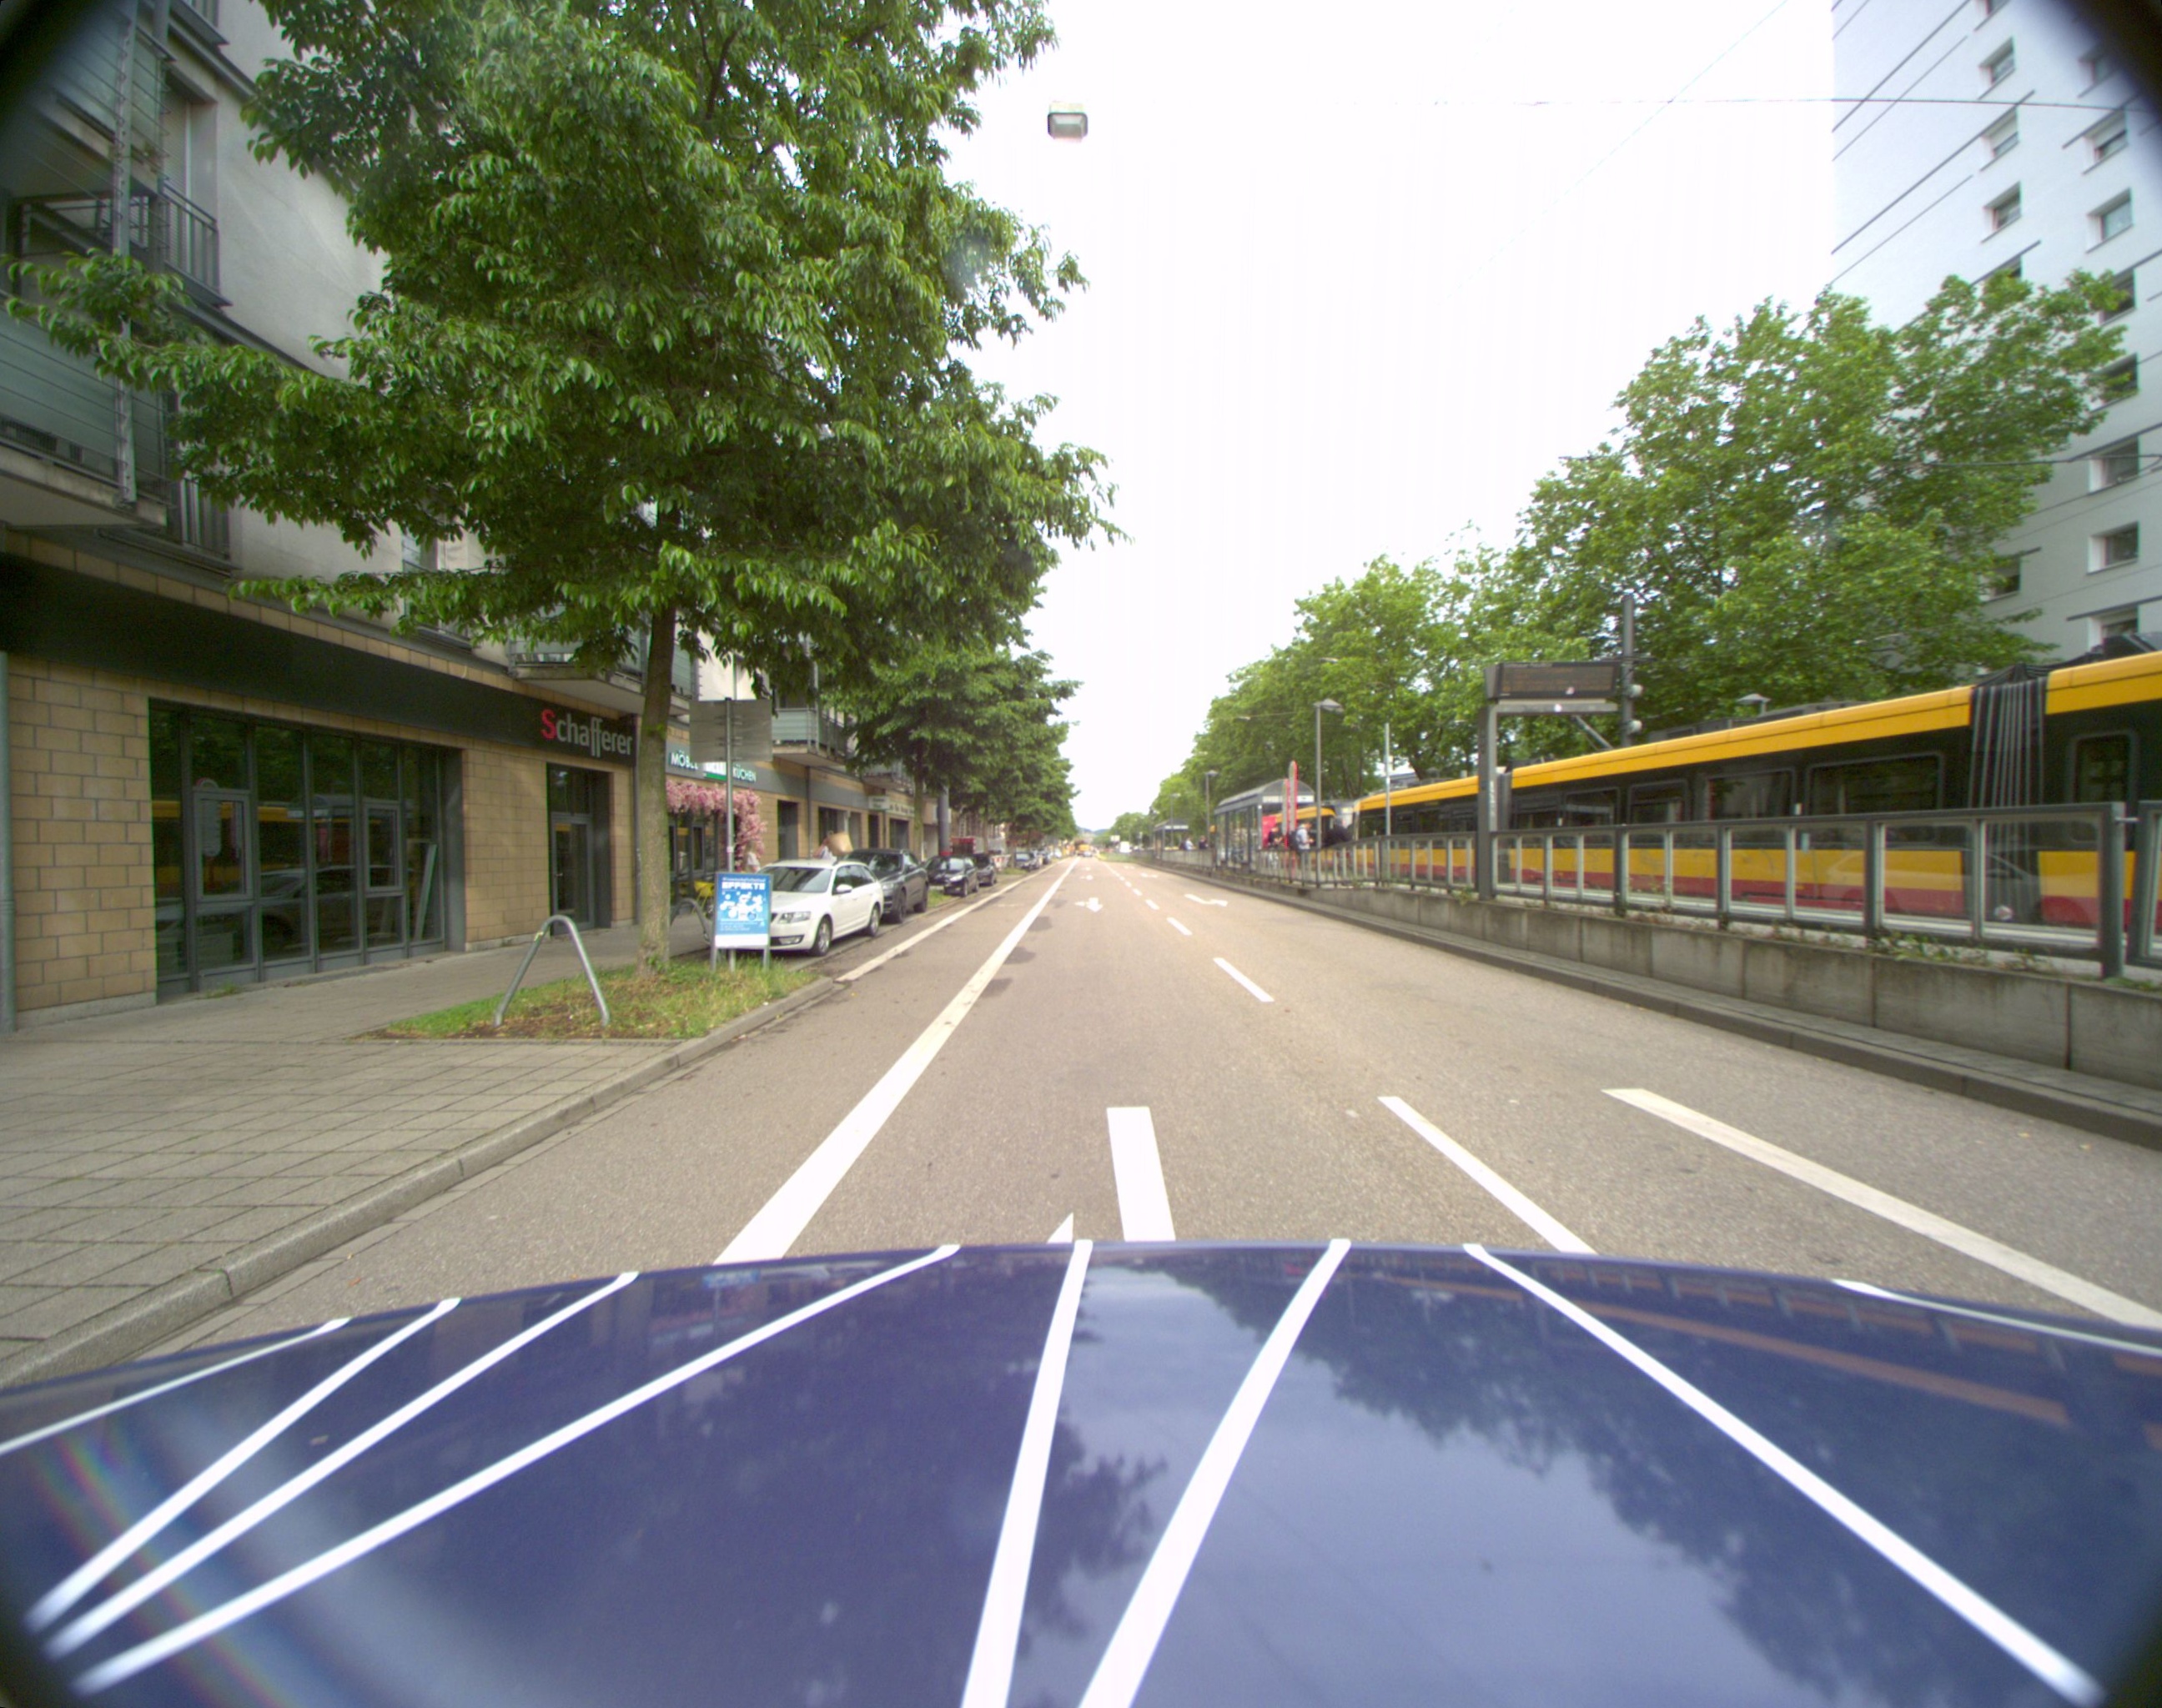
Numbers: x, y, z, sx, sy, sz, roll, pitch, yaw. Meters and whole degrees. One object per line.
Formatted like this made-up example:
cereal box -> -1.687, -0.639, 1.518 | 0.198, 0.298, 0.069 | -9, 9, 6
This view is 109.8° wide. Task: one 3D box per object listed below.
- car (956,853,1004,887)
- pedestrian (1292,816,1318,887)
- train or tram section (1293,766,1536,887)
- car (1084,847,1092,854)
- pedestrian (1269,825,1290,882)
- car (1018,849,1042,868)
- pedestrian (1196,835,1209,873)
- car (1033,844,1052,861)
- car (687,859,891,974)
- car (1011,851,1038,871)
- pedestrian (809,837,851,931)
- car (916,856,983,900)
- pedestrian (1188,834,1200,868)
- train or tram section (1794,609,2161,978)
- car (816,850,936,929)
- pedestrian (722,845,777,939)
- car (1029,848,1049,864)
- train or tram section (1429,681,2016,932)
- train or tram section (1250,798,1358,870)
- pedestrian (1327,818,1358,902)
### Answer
car -> -4.553, 0.686, 34.746 | 1.612, 1.393, 3.667 | 2, 1, 1
pedestrian -> 5.757, -0.060, 19.557 | 0.475, 1.794, 0.605 | -2, 1, 5
train or tram section -> 12.923, -0.958, 32.393 | 3.338, 3.731, 16.247 | -2, 1, 1
car -> 1.429, -0.773, 153.912 | 1.716, 1.379, 4.099 | -2, 1, 1
pedestrian -> 6.316, -0.024, 24.209 | 0.474, 1.794, 0.606 | -2, 1, 26
car -> -4.121, 0.363, 62.174 | 1.612, 1.393, 3.667 | 2, 1, 1
pedestrian -> 5.851, 0.002, 36.533 | 0.530, 1.794, 0.606 | -2, 1, 14
car -> -3.960, -0.143, 78.230 | 1.612, 1.674, 3.806 | 2, 1, 1
car -> -4.716, 0.904, 13.010 | 1.738, 1.512, 4.308 | 2, 1, 1
car -> -4.161, 0.479, 56.261 | 1.612, 1.393, 3.667 | 2, 1, 1
pedestrian -> -5.179, 0.604, 15.664 | 0.657, 1.873, 0.597 | -2, 1, -31
car -> -4.634, 0.796, 27.285 | 1.612, 1.370, 4.167 | 2, 1, 1
pedestrian -> 6.144, -0.176, 41.349 | 0.530, 1.794, 0.606 | -2, 1, 14
train or tram section -> 12.551, -0.623, 4.047 | 3.338, 3.731, 15.201 | -2, 1, 1
car -> -4.712, 0.744, 18.013 | 1.738, 1.601, 3.798 | 2, 1, 1
pedestrian -> -6.195, 0.683, 14.215 | 0.616, 1.707, 0.740 | 1, 2, 41
car -> -3.966, 0.207, 72.460 | 1.612, 1.393, 3.667 | 2, 1, 1
train or tram section -> 12.755, -0.789, 17.960 | 3.338, 3.731, 12.547 | -2, 1, 1
train or tram section -> 13.096, -1.119, 46.017 | 3.338, 3.731, 11.042 | -2, 1, 1
pedestrian -> 5.709, 0.124, 16.589 | 0.521, 1.794, 0.605 | -2, 1, 13
